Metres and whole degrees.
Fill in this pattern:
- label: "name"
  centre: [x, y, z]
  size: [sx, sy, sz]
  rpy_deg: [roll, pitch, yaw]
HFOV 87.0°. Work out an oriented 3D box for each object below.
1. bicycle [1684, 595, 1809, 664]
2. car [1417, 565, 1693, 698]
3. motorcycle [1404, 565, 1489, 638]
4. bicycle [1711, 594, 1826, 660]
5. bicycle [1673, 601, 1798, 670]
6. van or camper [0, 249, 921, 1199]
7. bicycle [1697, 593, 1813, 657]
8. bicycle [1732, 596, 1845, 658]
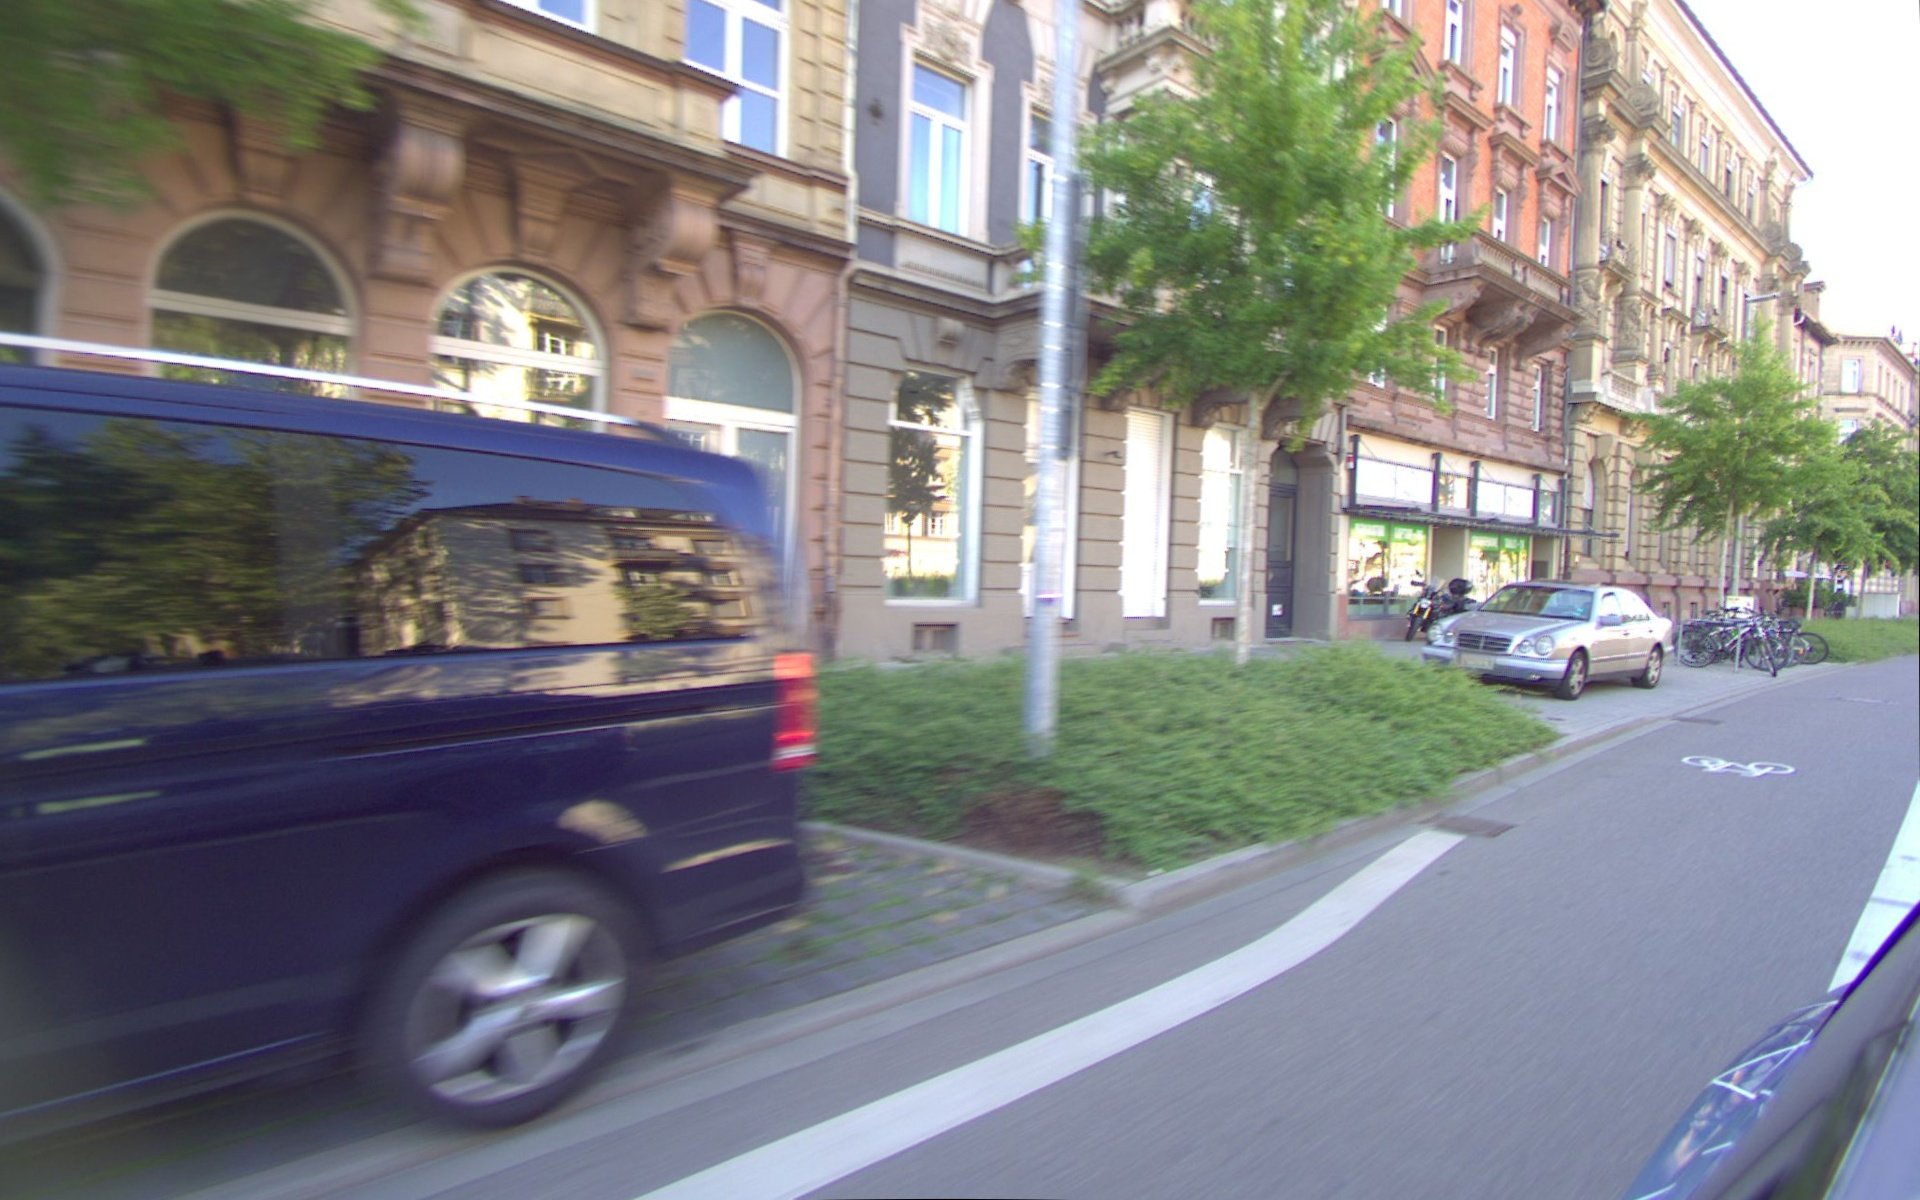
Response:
- label: "bicycle"
  centre: [14.255, 0.512, 18.382]
  size: [0.520, 1.132, 1.693]
  rpy_deg: [0, 2, -38]
- label: "car"
  centre: [8.370, 0.350, 14.068]
  size: [4.657, 1.502, 1.695]
  rpy_deg: [0, 4, -39]
- label: "motorcycle"
  centre: [10.117, 0.013, 21.007]
  size: [2.017, 1.439, 0.788]
  rpy_deg: [0, 2, -40]
- label: "bicycle"
  centre: [15.277, 0.482, 19.164]
  size: [0.566, 1.132, 1.585]
  rpy_deg: [0, 2, -38]
- label: "bicycle"
  centre: [13.305, 0.577, 17.403]
  size: [0.469, 1.065, 1.614]
  rpy_deg: [0, 2, -38]
- label: "van or camper"
  centre: [-2.851, 0.282, 2.301]
  size: [5.389, 1.995, 1.966]
  rpy_deg: [0, 4, -40]
- label: "bicycle"
  centre: [15.546, 0.466, 19.829]
  size: [0.520, 1.132, 1.693]
  rpy_deg: [0, 2, -38]
- label: "bicycle"
  centre: [16.639, 0.524, 20.352]
  size: [0.522, 1.132, 1.690]
  rpy_deg: [0, 2, -44]
